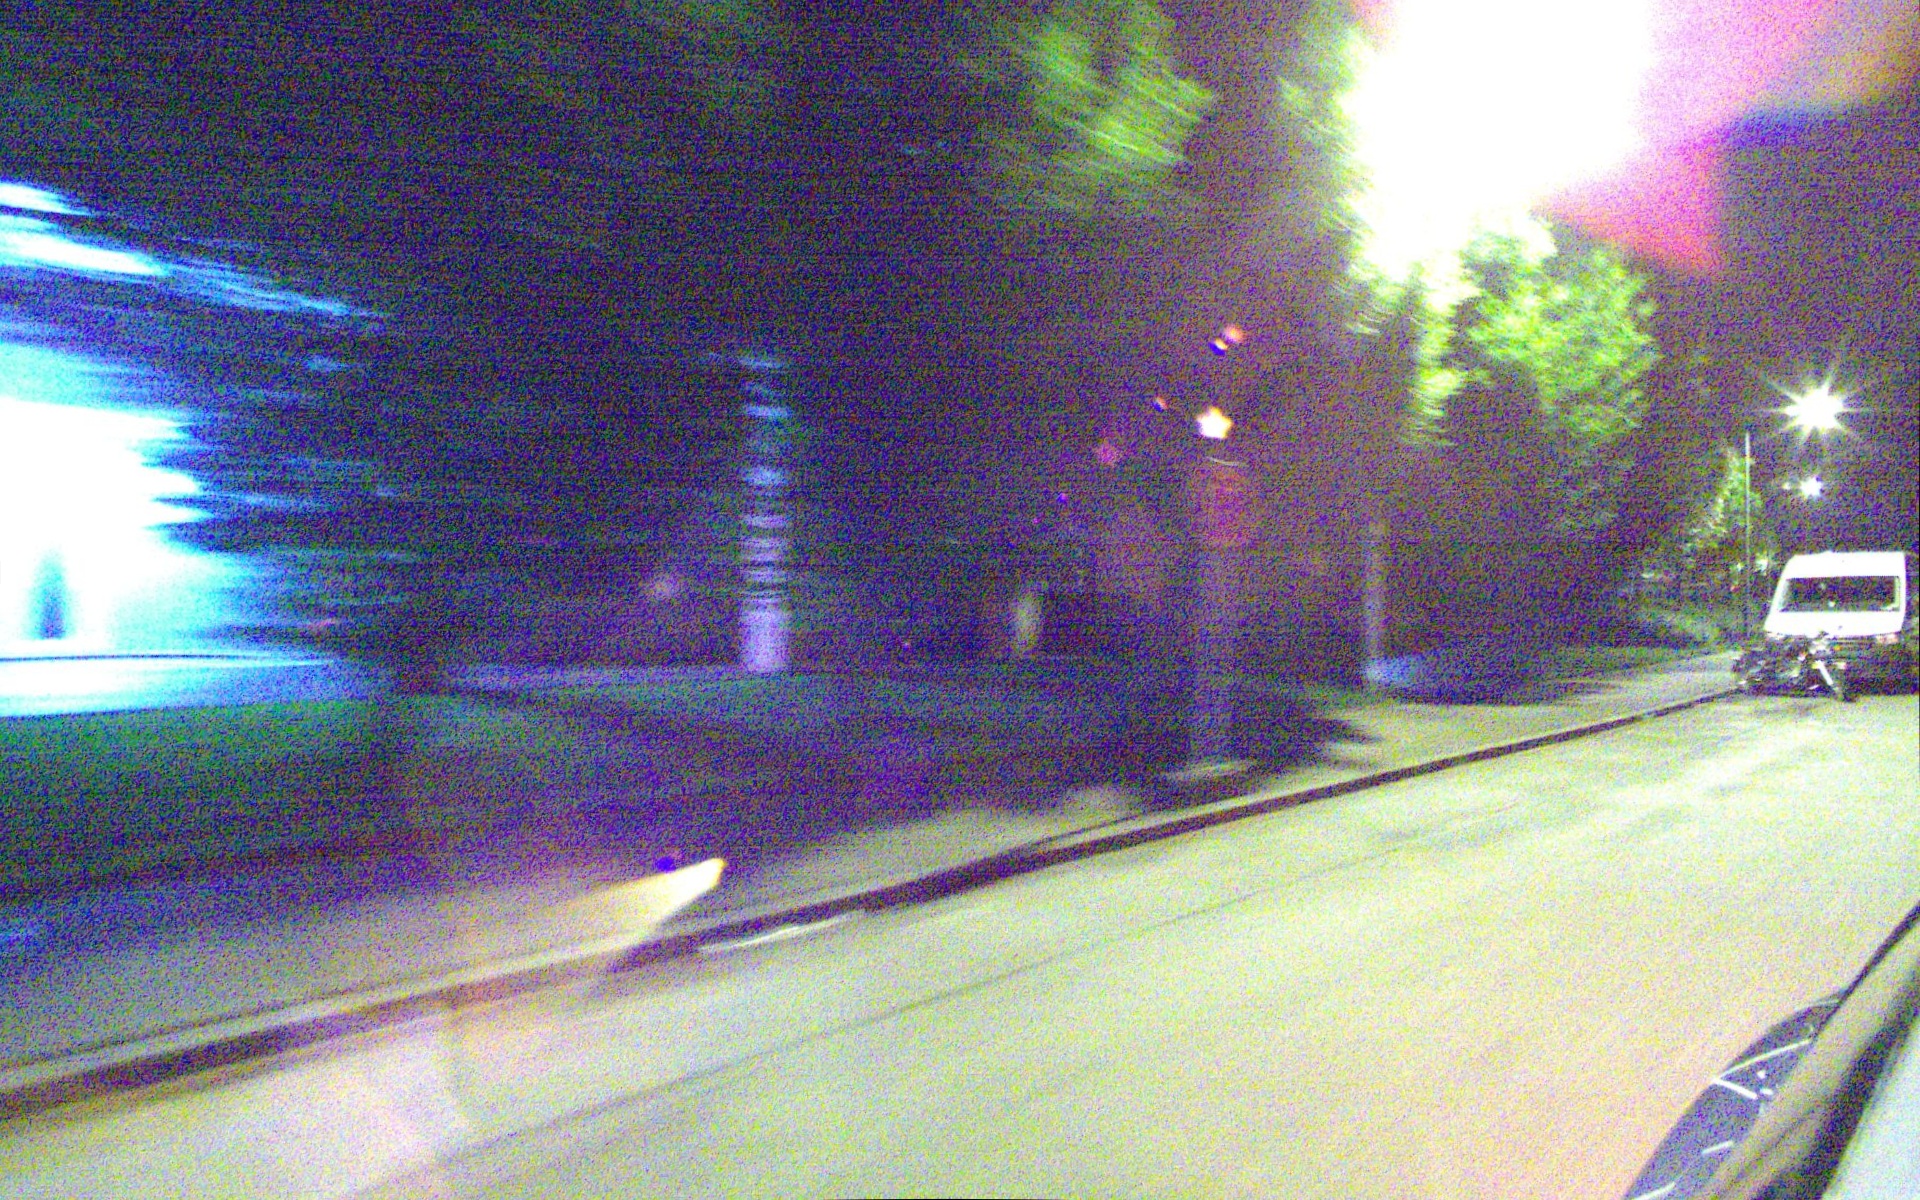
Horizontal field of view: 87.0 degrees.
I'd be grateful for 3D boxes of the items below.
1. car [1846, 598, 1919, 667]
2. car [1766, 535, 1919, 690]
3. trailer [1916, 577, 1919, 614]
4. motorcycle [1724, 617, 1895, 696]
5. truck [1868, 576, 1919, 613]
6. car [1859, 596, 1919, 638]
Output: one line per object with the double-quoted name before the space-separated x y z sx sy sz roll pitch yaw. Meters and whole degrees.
"car" 22.627 0.740 24.234 4.564 1.527 1.711 0 -3 -45
"car" 17.425 0.205 19.398 5.945 2.559 2.024 0 -1 -41
"trailer" 72.226 -0.297 74.344 1.987 2.800 3.956 2 1 31
"motorcycle" 14.008 0.886 16.796 0.753 1.199 2.188 -1 -1 -9
"truck" 74.988 -0.396 80.634 1.980 2.819 7.179 1 0 26
"car" 35.877 0.628 38.905 1.707 1.527 3.944 -1 0 38
